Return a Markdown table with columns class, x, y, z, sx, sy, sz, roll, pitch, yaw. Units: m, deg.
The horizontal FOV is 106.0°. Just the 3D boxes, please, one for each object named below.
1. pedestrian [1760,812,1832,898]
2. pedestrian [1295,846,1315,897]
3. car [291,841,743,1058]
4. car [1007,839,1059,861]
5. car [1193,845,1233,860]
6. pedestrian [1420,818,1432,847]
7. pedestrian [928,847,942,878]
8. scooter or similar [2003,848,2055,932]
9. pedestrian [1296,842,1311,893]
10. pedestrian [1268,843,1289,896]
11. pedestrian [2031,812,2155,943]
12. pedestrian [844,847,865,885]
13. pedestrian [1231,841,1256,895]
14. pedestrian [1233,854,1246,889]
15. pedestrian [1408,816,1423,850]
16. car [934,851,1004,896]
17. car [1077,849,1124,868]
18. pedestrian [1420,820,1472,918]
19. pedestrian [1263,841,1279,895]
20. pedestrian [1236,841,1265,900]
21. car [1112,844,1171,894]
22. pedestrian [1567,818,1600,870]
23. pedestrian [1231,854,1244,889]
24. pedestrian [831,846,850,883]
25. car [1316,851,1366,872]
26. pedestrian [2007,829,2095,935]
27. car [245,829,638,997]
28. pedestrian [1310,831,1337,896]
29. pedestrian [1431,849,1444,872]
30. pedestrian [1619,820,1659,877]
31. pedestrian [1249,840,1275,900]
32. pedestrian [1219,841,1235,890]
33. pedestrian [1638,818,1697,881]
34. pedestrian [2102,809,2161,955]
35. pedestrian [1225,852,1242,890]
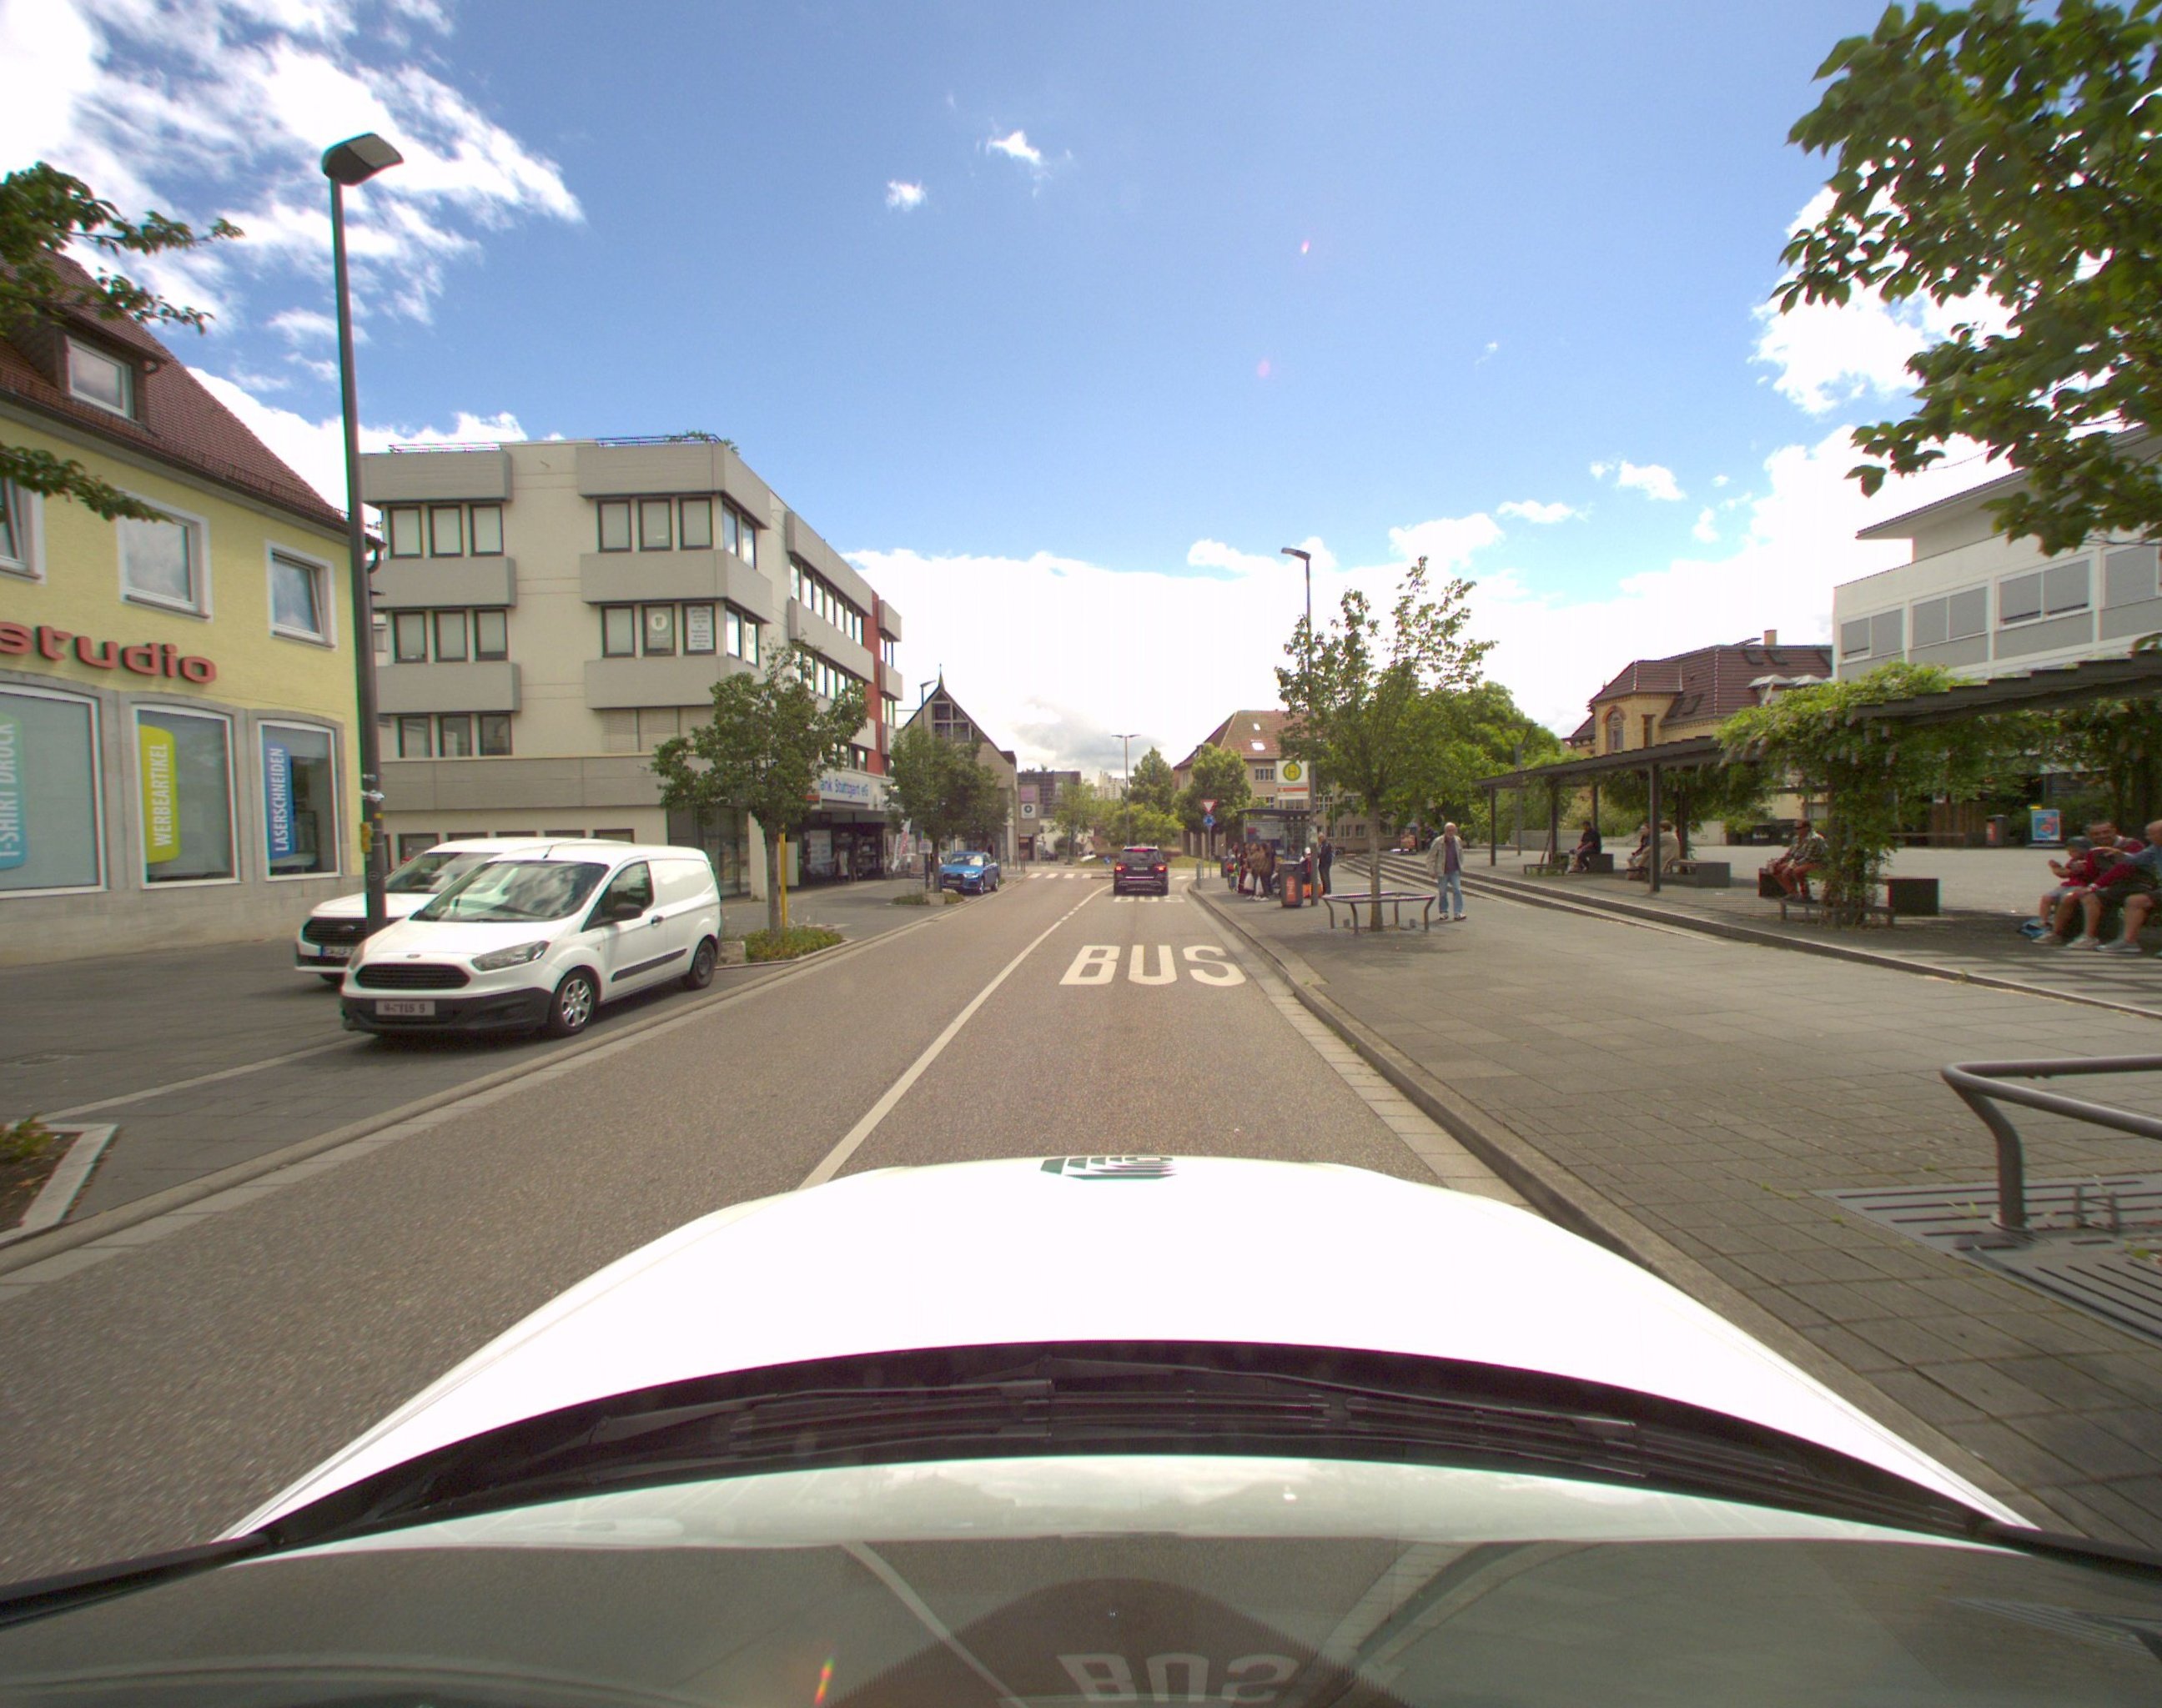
| class | x | y | z | sx | sy | sz | roll | pitch | yaw |
| --- | --- | --- | --- | --- | --- | --- | --- | --- | --- |
| pedestrian | 11.267 | 0.015 | 12.847 | 0.620 | 1.307 | 0.547 | -2 | 0 | 7 |
| pedestrian | 5.933 | 0.460 | 21.618 | 0.387 | 1.306 | 0.355 | -3 | 0 | 5 |
| car | -5.265 | 0.734 | 8.478 | 1.651 | 1.672 | 4.350 | 0 | 0 | 0 |
| car | -6.099 | -0.469 | 103.263 | 6.301 | 2.560 | 2.193 | 1 | -3 | -18 |
| car | 14.336 | -0.166 | 88.474 | 3.883 | 1.531 | 1.648 | -2 | 0 | -19 |
| pedestrian | 15.678 | -0.966 | 37.025 | 0.361 | 1.285 | 0.643 | -2 | 1 | 8 |
| pedestrian | -7.485 | 0.413 | 41.847 | 0.585 | 1.588 | 0.639 | 0 | 0 | 1 |
| scooter or similar | 10.619 | 0.392 | 9.132 | 0.246 | 0.894 | 0.510 | -1 | 3 | 34 |
| pedestrian | 6.445 | 0.386 | 23.563 | 0.273 | 1.458 | 0.319 | -2 | 0 | -4 |
| pedestrian | 5.425 | 0.422 | 22.402 | 0.376 | 1.442 | 0.415 | -3 | 0 | -3 |
| pedestrian | 10.150 | 0.220 | 8.188 | 0.565 | 1.262 | 0.543 | -2 | 2 | 7 |
| pedestrian | -9.482 | 0.499 | 34.085 | 0.640 | 1.566 | 0.587 | -2 | 0 | 4 |
| pedestrian | 4.830 | 0.415 | 24.161 | 0.491 | 1.566 | 0.504 | -2 | 0 | 42 |
| pedestrian | 5.263 | 0.582 | 27.052 | 0.296 | 1.152 | 0.293 | -3 | 0 | 2 |
| pedestrian | 15.056 | -0.936 | 36.662 | 0.499 | 1.508 | 0.456 | -1 | 1 | 12 |
| car | -4.304 | 0.688 | 31.854 | 1.686 | 1.599 | 4.339 | 2 | 0 | 6 |
| car | 1.765 | 0.421 | 73.072 | 3.883 | 1.531 | 1.648 | -2 | 0 | -19 |
| pedestrian | 6.409 | 0.261 | 14.342 | 0.679 | 1.682 | 0.717 | -2 | 0 | 14 |
| pedestrian | 5.636 | 0.406 | 24.195 | 0.391 | 1.566 | 0.353 | -2 | 0 | 8 |
| pedestrian | 4.577 | 0.434 | 21.966 | 0.489 | 1.549 | 0.537 | -2 | 0 | -43 |
| car | 2.201 | 0.581 | 30.106 | 2.019 | 1.727 | 4.436 | 0 | -2 | 3 |
| pedestrian | 12.783 | -0.252 | 20.716 | 0.564 | 1.323 | 0.547 | -1 | 0 | 13 |
| pedestrian | 5.261 | 0.595 | 27.365 | 0.265 | 1.160 | 0.269 | -3 | 0 | -25 |
| pedestrian | -10.264 | 0.451 | 34.754 | 0.507 | 1.566 | 0.587 | -2 | 0 | 4 |
| car | 18.363 | 0.503 | 57.379 | 3.857 | 1.383 | 1.595 | -1 | 1 | -41 |
| pedestrian | 10.316 | 0.293 | 8.670 | 0.473 | 1.088 | 0.369 | -2 | 2 | 7 |
| car | -8.194 | 0.643 | 11.130 | 1.750 | 1.814 | 4.477 | 0 | 0 | 1 |
| pedestrian | 6.426 | 0.237 | 21.590 | 0.509 | 1.680 | 0.577 | -2 | 0 | 3 |
| pedestrian | 24.699 | 0.460 | 56.402 | 0.547 | 1.514 | 0.789 | -2 | 2 | 5 |
| pedestrian | 12.211 | -0.117 | 17.830 | 0.564 | 1.227 | 0.568 | -1 | 0 | 13 |
| pedestrian | 4.767 | 0.424 | 21.449 | 0.508 | 1.549 | 0.490 | -2 | 0 | 29 |
| pedestrian | 4.893 | 0.370 | 27.246 | 0.384 | 1.619 | 0.471 | -3 | 0 | 18 |
| pedestrian | 12.114 | -0.094 | 16.824 | 0.678 | 1.269 | 0.764 | -1 | 0 | -26 |
| pedestrian | 10.090 | 0.245 | 7.588 | 0.495 | 1.320 | 0.526 | -2 | 2 | 8 |
| pedestrian | 4.987 | 0.544 | 26.654 | 0.399 | 1.226 | 0.390 | -2 | 0 | 25 |
